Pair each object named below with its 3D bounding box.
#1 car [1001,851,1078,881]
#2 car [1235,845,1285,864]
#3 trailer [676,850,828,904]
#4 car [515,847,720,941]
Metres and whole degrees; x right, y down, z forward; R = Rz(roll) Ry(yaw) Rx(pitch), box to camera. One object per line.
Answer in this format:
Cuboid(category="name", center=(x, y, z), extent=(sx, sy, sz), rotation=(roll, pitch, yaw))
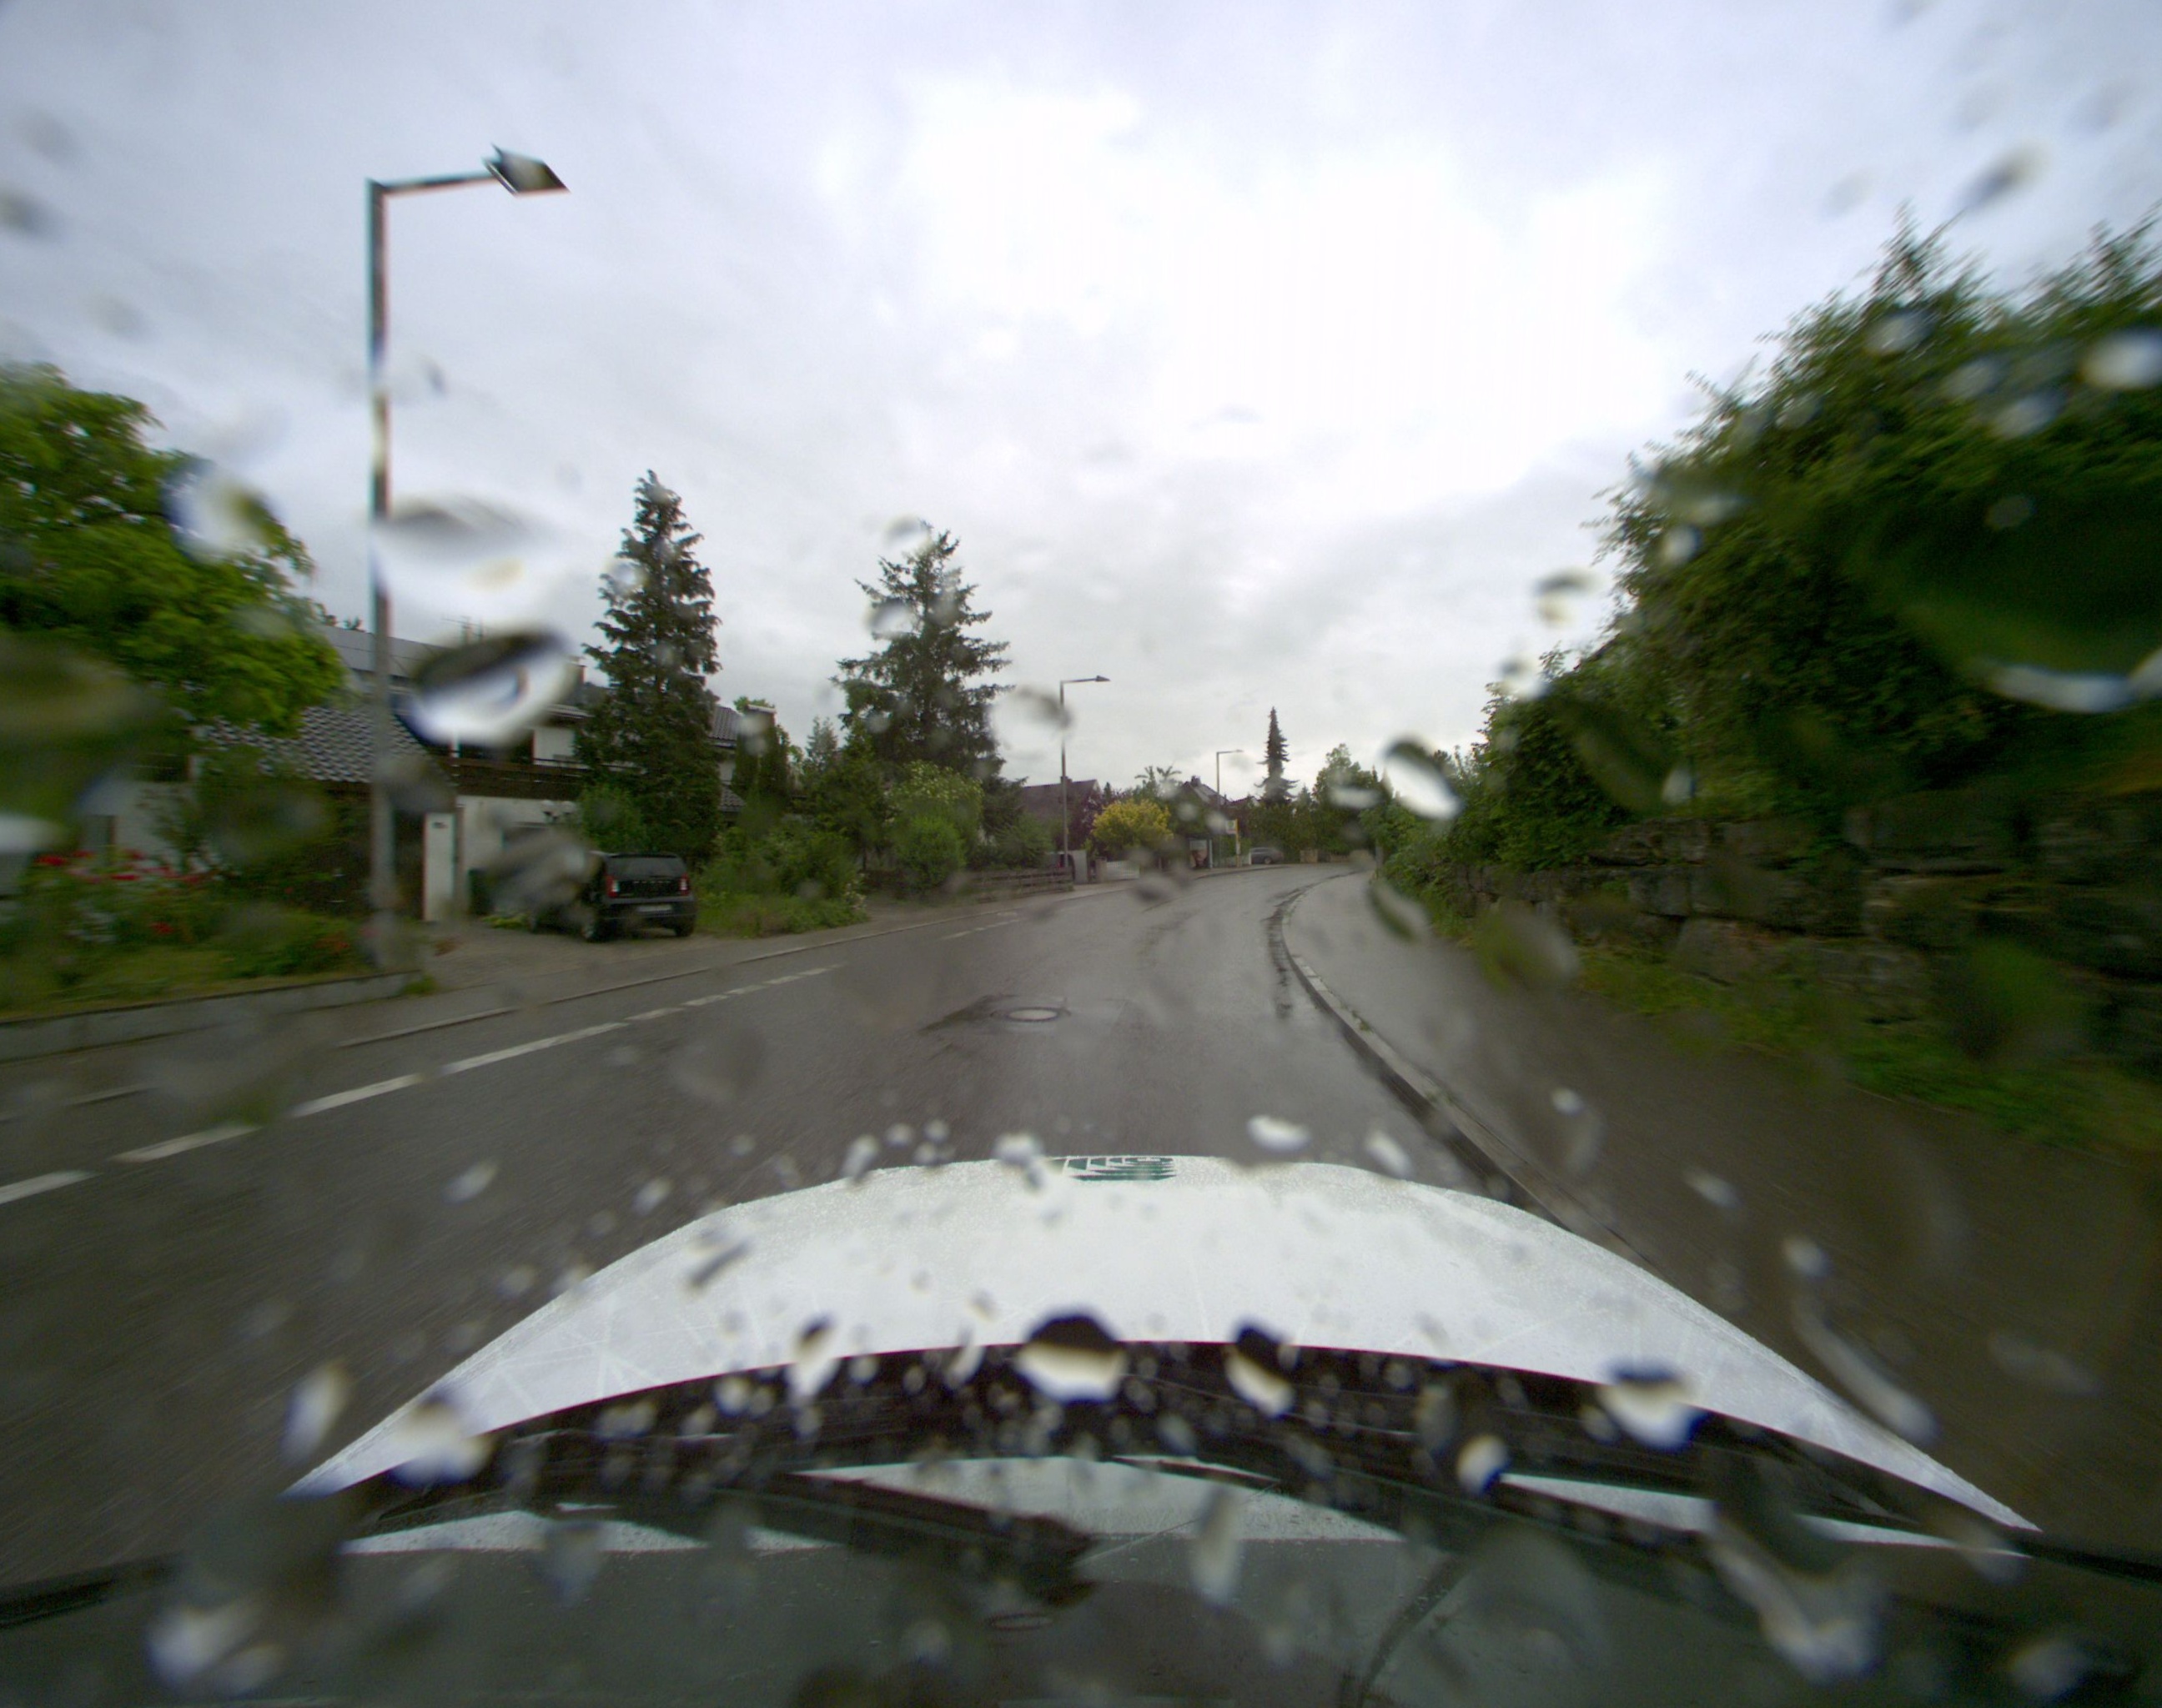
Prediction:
Cuboid(category="car", center=(-2.399, 0.676, 46.678), extent=(3.949, 1.620, 2.013), rotation=(-1, 0, 31))
Cuboid(category="car", center=(15.219, 0.050, 69.183), extent=(3.809, 1.572, 1.796), rotation=(-1, 0, 25))
Cuboid(category="trailer", center=(-8.771, 0.553, 21.657), extent=(3.650, 1.206, 1.939), rotation=(2, 2, 32))
Cuboid(category="car", center=(-8.178, 0.606, 14.236), extent=(3.950, 1.389, 1.952), rotation=(1, -1, 42))
